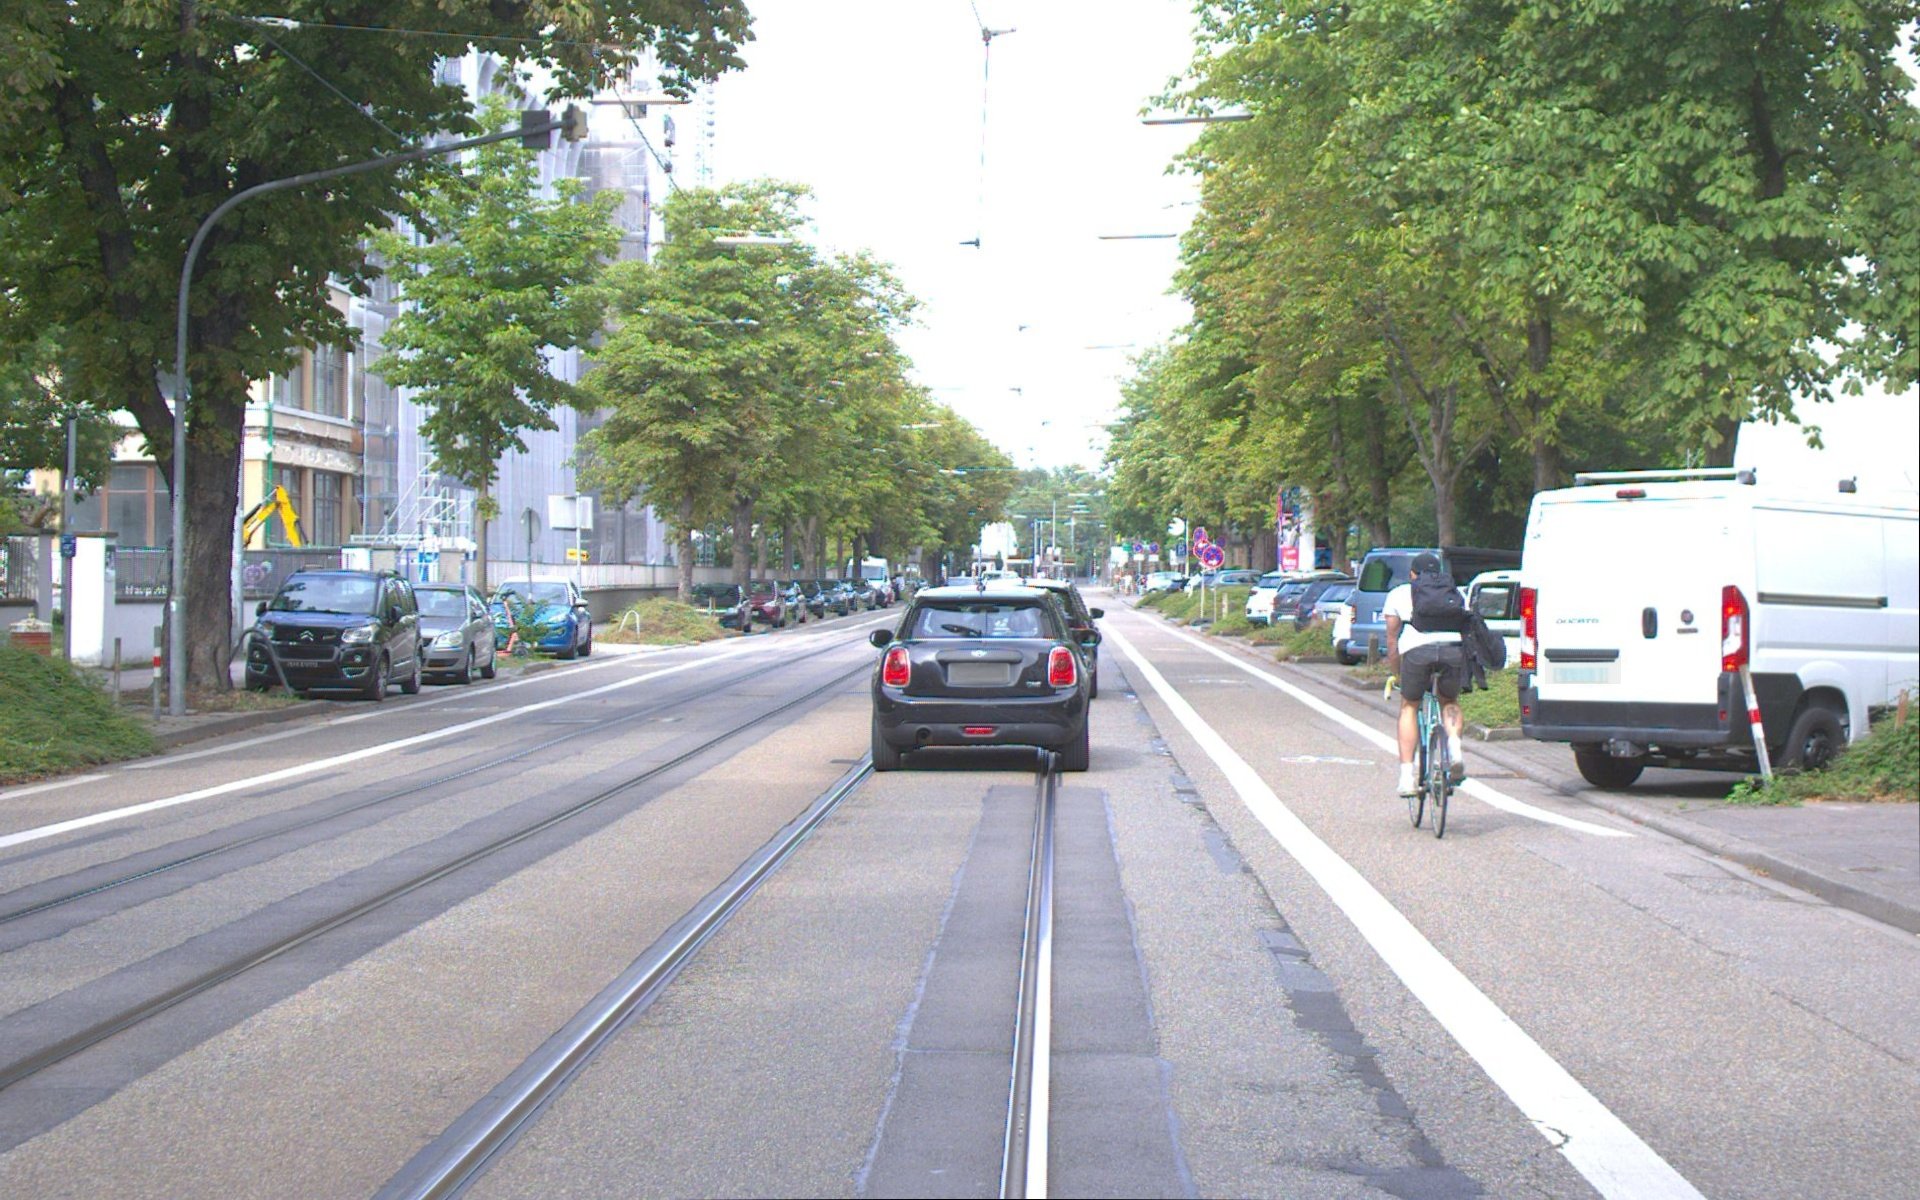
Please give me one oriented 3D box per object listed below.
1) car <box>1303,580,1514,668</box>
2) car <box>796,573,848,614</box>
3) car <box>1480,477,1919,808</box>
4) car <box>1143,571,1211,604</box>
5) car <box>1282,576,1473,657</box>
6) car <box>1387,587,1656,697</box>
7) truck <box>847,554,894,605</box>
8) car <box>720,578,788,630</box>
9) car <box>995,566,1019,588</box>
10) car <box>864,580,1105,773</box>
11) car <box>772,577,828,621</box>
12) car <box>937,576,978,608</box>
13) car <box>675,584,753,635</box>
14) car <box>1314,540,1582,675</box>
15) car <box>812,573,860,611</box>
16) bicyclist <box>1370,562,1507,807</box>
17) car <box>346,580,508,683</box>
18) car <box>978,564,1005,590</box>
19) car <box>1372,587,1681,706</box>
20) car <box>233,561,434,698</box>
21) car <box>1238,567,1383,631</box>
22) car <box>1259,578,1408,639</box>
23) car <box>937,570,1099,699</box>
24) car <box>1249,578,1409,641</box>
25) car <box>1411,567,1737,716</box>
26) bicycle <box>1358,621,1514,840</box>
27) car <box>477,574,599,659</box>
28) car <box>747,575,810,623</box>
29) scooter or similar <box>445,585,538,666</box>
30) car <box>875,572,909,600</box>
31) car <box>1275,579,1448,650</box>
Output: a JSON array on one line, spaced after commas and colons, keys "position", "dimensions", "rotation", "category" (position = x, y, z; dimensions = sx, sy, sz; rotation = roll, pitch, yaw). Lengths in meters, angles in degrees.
[{"position": [7.816, 0.415, 59.717], "dimensions": [1.639, 1.455, 3.819], "rotation": [1, 0, 45], "category": "car"}, {"position": [-5.476, -0.255, 136.845], "dimensions": [1.802, 1.578, 4.031], "rotation": [-1, 0, 1], "category": "car"}, {"position": [6.511, 0.302, 26.191], "dimensions": [4.944, 2.282, 2.384], "rotation": [1, 0, -41], "category": "car"}, {"position": [13.180, -0.752, 208.966], "dimensions": [3.987, 1.904, 2.000], "rotation": [1, 1, -1], "category": "car"}, {"position": [8.102, 0.318, 66.513], "dimensions": [3.729, 1.517, 1.640], "rotation": [1, 0, -43], "category": "car"}, {"position": [7.681, 0.560, 46.871], "dimensions": [3.706, 1.428, 1.688], "rotation": [1, 0, -43], "category": "car"}, {"position": [-4.430, -0.991, 170.458], "dimensions": [2.071, 2.462, 4.899], "rotation": [-1, 0, 1], "category": "truck"}, {"position": [-6.411, 0.124, 107.186], "dimensions": [1.802, 1.578, 4.031], "rotation": [-1, 0, 1], "category": "car"}, {"position": [3.546, -1.749, 260.137], "dimensions": [1.802, 1.617, 4.484], "rotation": [-1, 0, 1], "category": "car"}, {"position": [0.159, 0.566, 28.044], "dimensions": [1.793, 1.418, 4.000], "rotation": [1, 0, -1], "category": "car"}, {"position": [-5.890, -0.040, 126.783], "dimensions": [1.802, 1.578, 4.031], "rotation": [-1, 0, 1], "category": "car"}, {"position": [-0.088, -0.393, 161.967], "dimensions": [1.835, 1.443, 4.553], "rotation": [1, 0, 1], "category": "car"}, {"position": [-6.883, 0.253, 96.553], "dimensions": [1.802, 1.369, 4.031], "rotation": [-1, 0, 1], "category": "car"}, {"position": [7.592, 0.124, 53.254], "dimensions": [4.264, 2.008, 1.830], "rotation": [1, 0, -43], "category": "car"}, {"position": [-5.252, -0.338, 145.966], "dimensions": [1.802, 1.578, 4.031], "rotation": [-1, 0, 1], "category": "car"}, {"position": [2.944, 0.504, 21.255], "dimensions": [0.657, 1.458, 1.178], "rotation": [1, 0, 0], "category": "bicyclist"}, {"position": [-7.825, 0.433, 50.741], "dimensions": [1.693, 1.423, 3.868], "rotation": [1, 0, 1], "category": "car"}, {"position": [2.209, -1.597, 240.990], "dimensions": [1.802, 1.817, 4.484], "rotation": [-1, 0, 1], "category": "car"}, {"position": [7.211, 0.585, 43.575], "dimensions": [3.964, 1.428, 1.689], "rotation": [1, 0, -41], "category": "car"}, {"position": [-8.005, 0.353, 44.271], "dimensions": [1.756, 1.641, 4.052], "rotation": [1, 0, 1], "category": "car"}, {"position": [8.773, -0.020, 86.015], "dimensions": [3.437, 1.567, 1.560], "rotation": [0, 0, -37], "category": "car"}, {"position": [9.057, 0.192, 83.207], "dimensions": [3.437, 1.438, 1.560], "rotation": [0, 0, -37], "category": "car"}, {"position": [0.682, 0.396, 43.096], "dimensions": [1.793, 1.465, 4.000], "rotation": [2, 0, -2], "category": "car"}, {"position": [8.595, 0.220, 79.989], "dimensions": [3.524, 1.438, 1.623], "rotation": [0, 0, -37], "category": "car"}, {"position": [7.309, 0.480, 40.717], "dimensions": [4.097, 1.662, 1.688], "rotation": [1, 0, -44], "category": "car"}, {"position": [2.932, 0.777, 21.348], "dimensions": [0.657, 1.244, 2.125], "rotation": [1, 1, 0], "category": "bicycle"}, {"position": [-7.670, 0.280, 62.745], "dimensions": [1.693, 1.482, 3.677], "rotation": [1, 0, 1], "category": "car"}, {"position": [-6.108, -0.037, 116.050], "dimensions": [1.802, 1.578, 4.031], "rotation": [-1, 0, 1], "category": "car"}, {"position": [-7.982, 0.430, 58.637], "dimensions": [1.444, 1.339, 0.700], "rotation": [-1, 0, 4], "category": "scooter or similar"}, {"position": [-3.967, -0.829, 201.822], "dimensions": [1.802, 1.578, 4.031], "rotation": [-1, 0, 1], "category": "car"}, {"position": [8.579, 0.314, 73.282], "dimensions": [3.729, 1.454, 1.640], "rotation": [1, 0, -43], "category": "car"}]
